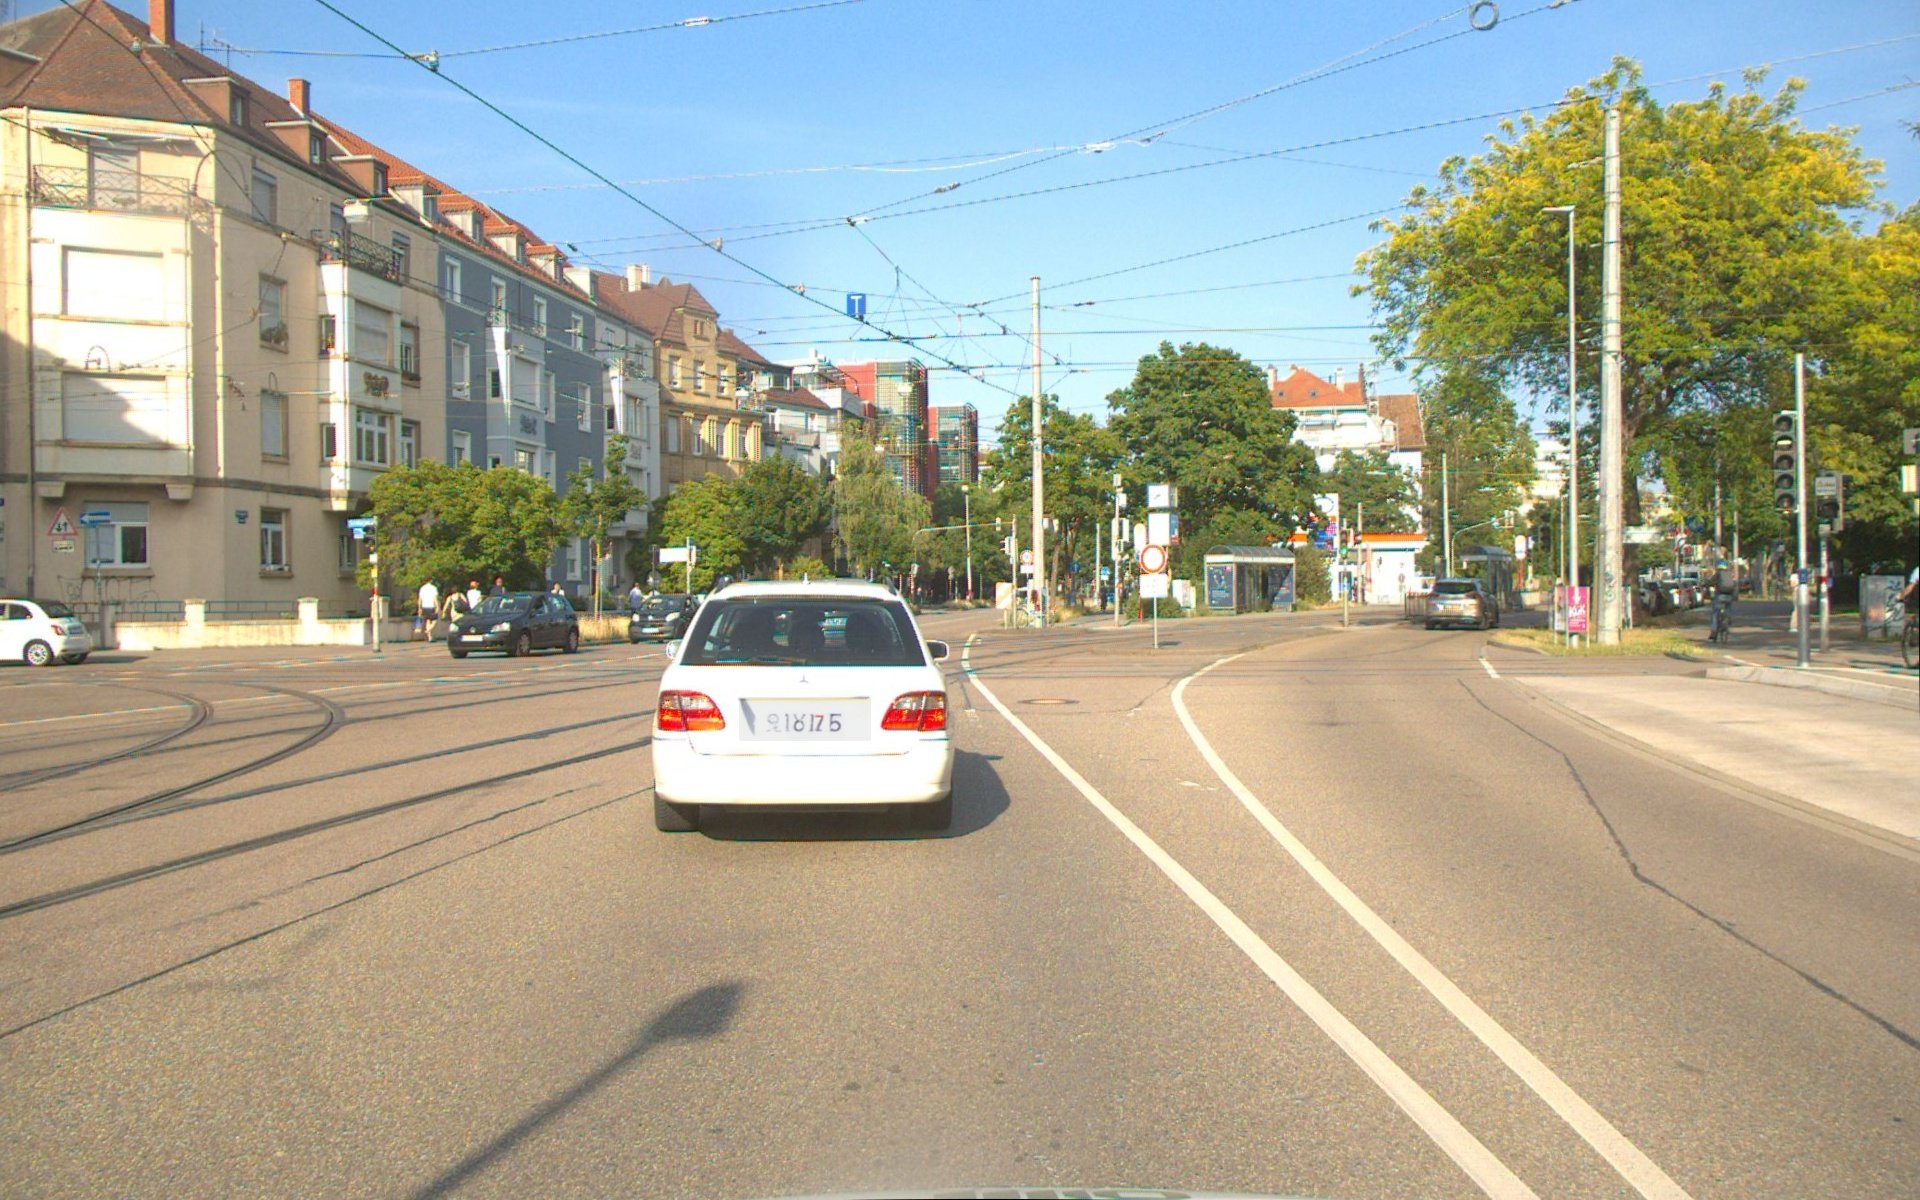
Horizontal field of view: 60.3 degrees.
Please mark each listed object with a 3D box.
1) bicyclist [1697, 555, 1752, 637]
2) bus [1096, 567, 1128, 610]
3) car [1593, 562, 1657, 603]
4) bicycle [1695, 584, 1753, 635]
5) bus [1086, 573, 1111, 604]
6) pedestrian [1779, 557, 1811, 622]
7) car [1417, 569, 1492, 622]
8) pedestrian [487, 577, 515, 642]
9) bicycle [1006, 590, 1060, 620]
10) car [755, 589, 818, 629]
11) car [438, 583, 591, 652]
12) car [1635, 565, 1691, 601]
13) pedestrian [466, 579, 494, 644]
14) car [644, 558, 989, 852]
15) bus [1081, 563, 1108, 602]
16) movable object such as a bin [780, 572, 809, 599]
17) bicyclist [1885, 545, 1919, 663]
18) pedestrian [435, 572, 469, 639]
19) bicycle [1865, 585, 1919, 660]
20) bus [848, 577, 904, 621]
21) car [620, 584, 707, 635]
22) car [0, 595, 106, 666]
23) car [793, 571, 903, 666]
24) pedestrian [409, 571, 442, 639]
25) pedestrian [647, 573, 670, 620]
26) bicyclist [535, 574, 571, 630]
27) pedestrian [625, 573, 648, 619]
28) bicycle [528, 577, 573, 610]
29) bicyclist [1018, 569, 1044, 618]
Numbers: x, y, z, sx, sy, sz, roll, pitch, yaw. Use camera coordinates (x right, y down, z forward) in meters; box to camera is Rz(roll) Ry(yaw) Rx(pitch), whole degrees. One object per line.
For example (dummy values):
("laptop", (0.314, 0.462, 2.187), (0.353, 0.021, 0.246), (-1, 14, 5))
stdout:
("bicyclist", (17.280, -0.099, 37.408), (0.705, 1.776, 1.141), (-4, 0, 6))
("bus", (9.122, -0.674, 99.271), (1.760, 2.455, 4.002), (1, 0, 4))
("car", (27.375, -0.737, 68.018), (1.819, 1.542, 3.992), (-2, 0, 31))
("bicycle", (17.314, 0.200, 37.526), (0.627, 1.107, 1.735), (-3, 0, 6))
("bus", (10.930, -0.924, 130.711), (1.760, 2.374, 4.002), (1, 0, 3))
("pedestrian", (21.967, -0.286, 43.529), (0.627, 1.694, 0.691), (-1, 0, 18))
("car", (15.961, -0.150, 53.274), (1.798, 1.628, 3.813), (1, 1, 24))
("pedestrian", (-13.701, 0.277, 49.371), (0.572, 1.914, 0.627), (-1, 0, 8))
("bicycle", (2.644, 0.179, 59.772), (1.874, 1.011, 0.727), (-3, 0, 2))
("car", (-6.623, 0.329, 63.484), (1.653, 1.445, 4.003), (-1, 0, 5))
("car", (-10.176, 0.376, 38.101), (1.729, 1.458, 4.004), (-1, 1, 12))
("car", (32.949, -0.809, 77.468), (1.819, 1.542, 3.992), (-2, 0, 31))
("pedestrian", (-14.312, 0.335, 49.342), (0.572, 1.914, 0.627), (-1, 0, 6))
("car", (-0.999, 0.532, 10.617), (1.801, 1.527, 3.808), (1, 1, -8))
("bus", (9.341, -1.176, 114.925), (1.760, 2.600, 4.002), (1, 0, 4))
("movable object such as a bin", (-9.183, -0.787, 91.743), (1.571, 1.446, 1.083), (-1, 0, -5))
("bicyclist", (14.826, 0.040, 25.279), (0.635, 1.776, 1.140), (-4, 0, 1))
("pedestrian", (-14.447, 0.142, 47.050), (0.659, 1.880, 0.650), (-1, 0, 10))
("bicycle", (14.855, 0.331, 25.584), (0.627, 1.107, 1.940), (-3, 0, 1))
("bus", (-3.287, -0.057, 65.260), (1.806, 1.665, 4.161), (-1, 1, 2))
("car", (-8.898, 0.260, 49.859), (1.599, 1.458, 3.631), (-1, 1, 6))
("car", (-21.419, 0.688, 36.746), (3.906, 1.482, 1.800), (-1, 1, -1))
("car", (-2.023, 0.303, 30.770), (1.607, 1.628, 3.816), (1, 1, 2))
("pedestrian", (-15.150, 0.135, 46.885), (0.644, 1.914, 0.627), (-1, 0, 6))
("pedestrian", (-11.609, -0.130, 63.733), (0.625, 1.781, 0.912), (-1, 0, 6))
("bicyclist", (-12.615, 0.060, 51.327), (0.744, 1.697, 1.168), (-1, 1, 3))
("pedestrian", (-12.512, -0.154, 64.009), (0.625, 1.781, 0.912), (-1, 0, 6))
("bicycle", (-12.665, -0.202, 51.163), (0.753, 0.982, 2.035), (-1, 1, 4))
("bicyclist", (2.560, -0.234, 59.767), (0.880, 1.728, 0.733), (-2, 0, 3))
